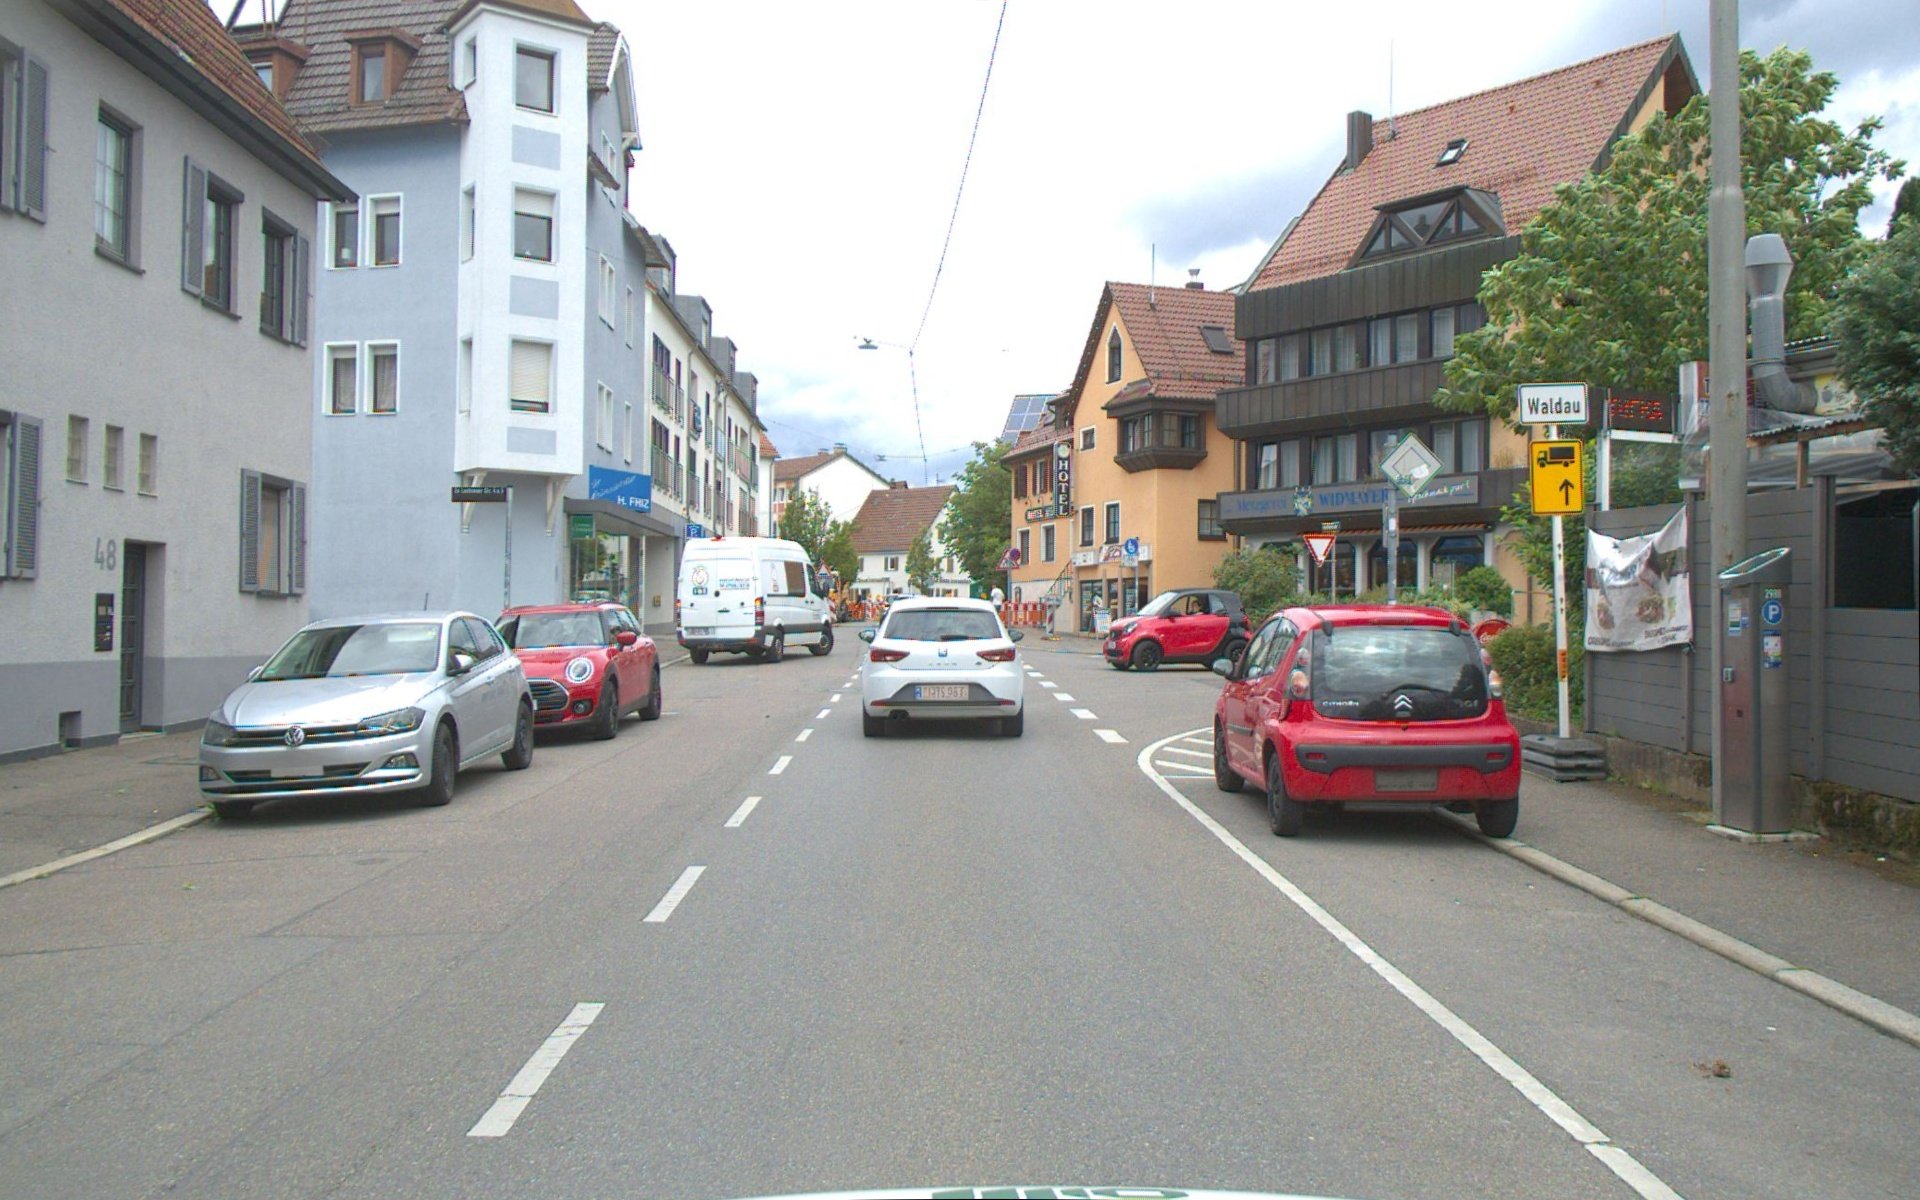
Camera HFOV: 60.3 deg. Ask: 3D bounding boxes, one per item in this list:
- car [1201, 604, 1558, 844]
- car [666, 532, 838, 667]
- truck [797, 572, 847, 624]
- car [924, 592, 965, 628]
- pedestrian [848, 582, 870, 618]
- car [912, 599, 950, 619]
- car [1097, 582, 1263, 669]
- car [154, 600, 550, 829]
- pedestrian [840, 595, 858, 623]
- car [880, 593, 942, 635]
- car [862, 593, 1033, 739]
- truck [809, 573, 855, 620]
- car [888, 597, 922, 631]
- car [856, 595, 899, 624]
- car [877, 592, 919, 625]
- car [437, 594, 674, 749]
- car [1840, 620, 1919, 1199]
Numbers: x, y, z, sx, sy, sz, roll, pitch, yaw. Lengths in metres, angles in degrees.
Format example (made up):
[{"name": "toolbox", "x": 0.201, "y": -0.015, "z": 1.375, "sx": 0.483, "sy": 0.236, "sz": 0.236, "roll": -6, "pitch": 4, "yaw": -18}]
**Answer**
[{"name": "car", "x": 2.888, "y": 0.773, "z": 12.251, "sx": 1.722, "sy": 1.477, "sz": 4.001, "roll": 0, "pitch": 0, "yaw": 1}, {"name": "car", "x": -4.498, "y": -0.028, "z": 36.857, "sx": 2.106, "sy": 2.734, "sz": 5.549, "roll": 1, "pitch": 0, "yaw": 11}, {"name": "truck", "x": -7.006, "y": -0.125, "z": 84.651, "sx": 2.108, "sy": 2.502, "sz": 5.394, "roll": 1, "pitch": 0, "yaw": -1}, {"name": "car", "x": -0.682, "y": 0.419, "z": 71.903, "sx": 1.726, "sy": 1.524, "sz": 3.788, "roll": 1, "pitch": 0, "yaw": -1}, {"name": "pedestrian", "x": -5.790, "y": -0.020, "z": 95.181, "sx": 1.203, "sy": 2.049, "sz": 1.175, "roll": 0, "pitch": 0, "yaw": -1}, {"name": "car", "x": -2.099, "y": 0.654, "z": 120.197, "sx": 1.721, "sy": 1.477, "sz": 4.003, "roll": 0, "pitch": 0, "yaw": 14}, {"name": "car", "x": 4.214, "y": 0.475, "z": 31.880, "sx": 2.759, "sy": 1.538, "sz": 1.703, "roll": 1, "pitch": 1, "yaw": -12}, {"name": "car", "x": -4.728, "y": 0.794, "z": 13.528, "sx": 1.763, "sy": 1.505, "sz": 4.049, "roll": -3, "pitch": 0, "yaw": -1}, {"name": "pedestrian", "x": -6.307, "y": 0.513, "z": 93.906, "sx": 0.953, "sy": 1.603, "sz": 0.907, "roll": 2, "pitch": -1, "yaw": -2}, {"name": "car", "x": -1.819, "y": 0.493, "z": 60.250, "sx": 1.726, "sy": 1.477, "sz": 3.990, "roll": 0, "pitch": 0, "yaw": -10}, {"name": "car", "x": -0.147, "y": 0.668, "z": 18.714, "sx": 1.722, "sy": 1.477, "sz": 3.999, "roll": 0, "pitch": 0, "yaw": -1}, {"name": "truck", "x": -6.962, "y": -0.208, "z": 90.565, "sx": 2.108, "sy": 2.502, "sz": 5.394, "roll": 1, "pitch": 0, "yaw": -1}, {"name": "car", "x": -3.073, "y": 0.770, "z": 93.040, "sx": 1.757, "sy": 1.862, "sz": 4.000, "roll": 1, "pitch": 0, "yaw": -1}, {"name": "car", "x": -5.014, "y": 0.546, "z": 100.965, "sx": 1.756, "sy": 1.731, "sz": 4.003, "roll": 1, "pitch": 0, "yaw": 9}, {"name": "car", "x": -2.775, "y": 0.370, "z": 74.749, "sx": 1.722, "sy": 1.477, "sz": 4.000, "roll": 0, "pitch": 0, "yaw": 0}, {"name": "car", "x": -4.514, "y": 0.734, "z": 19.058, "sx": 1.763, "sy": 1.505, "sz": 4.049, "roll": -3, "pitch": 0, "yaw": -1}, {"name": "car", "x": 2.828, "y": 0.779, "z": 1.523, "sx": 1.724, "sy": 1.477, "sz": 3.997, "roll": 0, "pitch": 0, "yaw": -4}]
